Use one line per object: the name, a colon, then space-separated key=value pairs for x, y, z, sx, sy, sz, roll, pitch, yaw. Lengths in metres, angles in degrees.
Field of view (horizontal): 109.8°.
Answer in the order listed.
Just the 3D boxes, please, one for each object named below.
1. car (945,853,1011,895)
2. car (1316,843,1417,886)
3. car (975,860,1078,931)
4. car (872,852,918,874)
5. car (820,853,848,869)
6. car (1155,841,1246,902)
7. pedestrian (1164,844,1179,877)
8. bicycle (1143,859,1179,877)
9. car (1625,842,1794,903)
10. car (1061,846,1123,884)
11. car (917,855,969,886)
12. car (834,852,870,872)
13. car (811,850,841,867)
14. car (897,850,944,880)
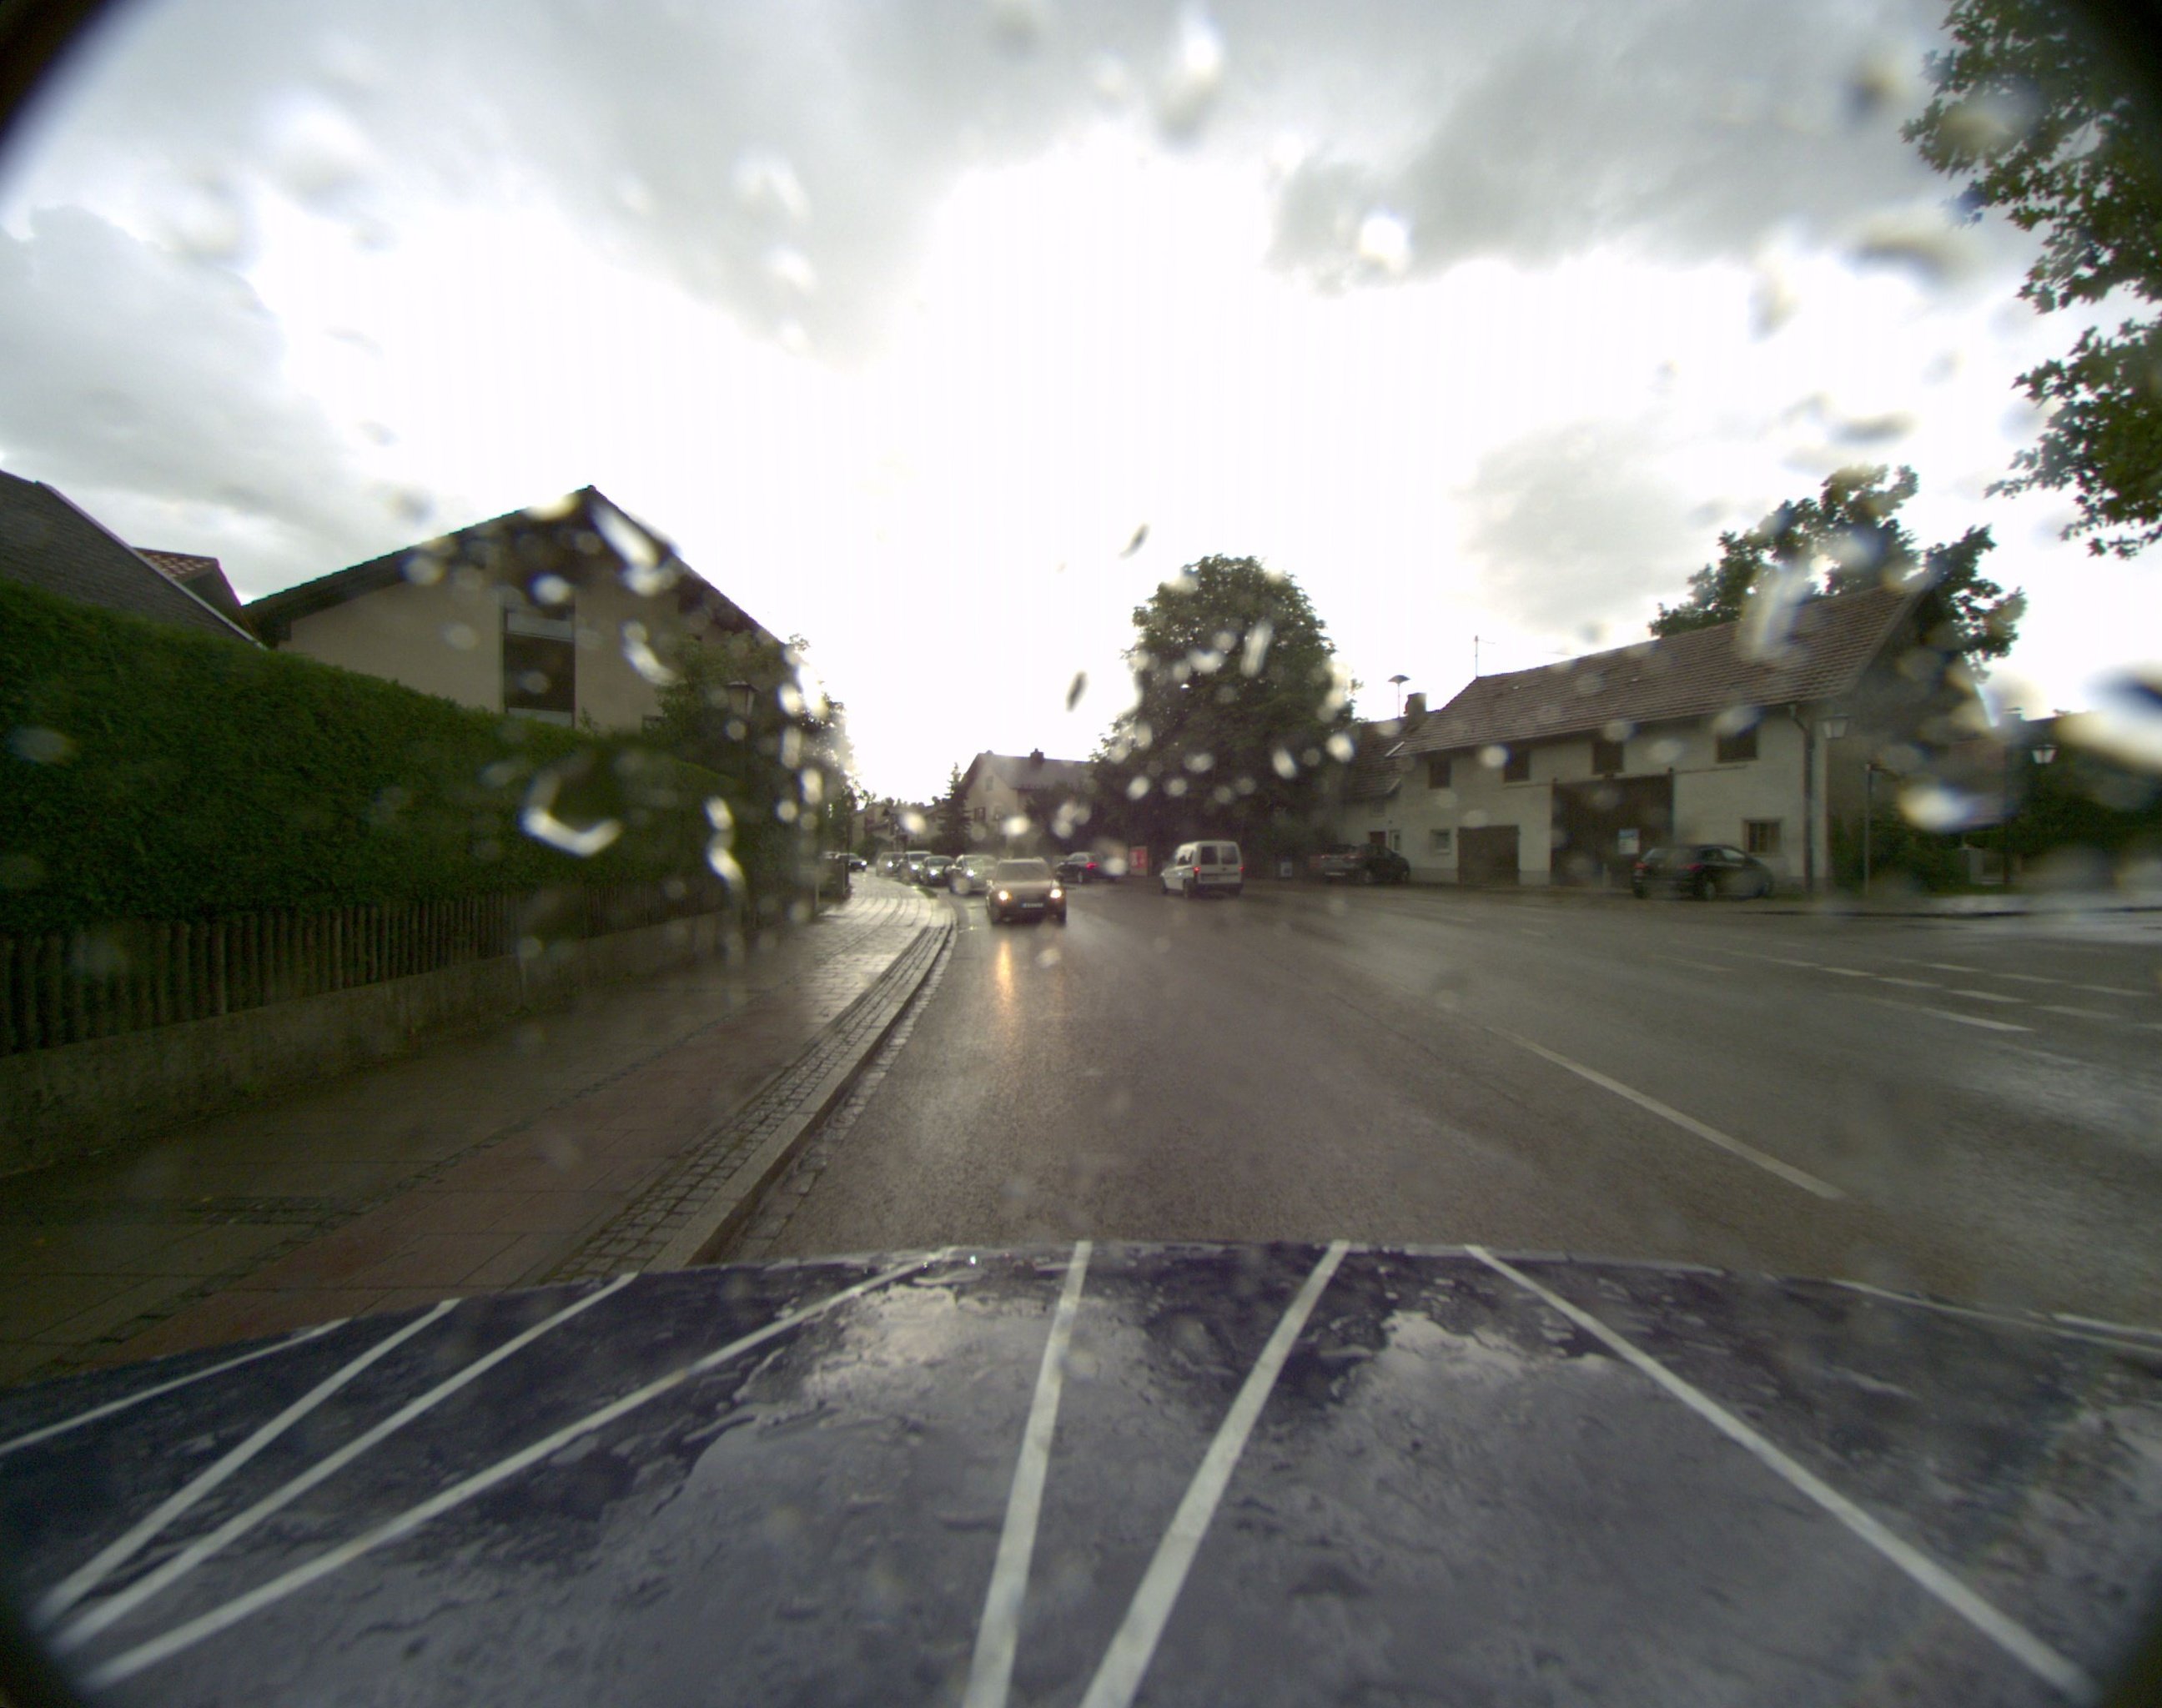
car: x=-4.250 y=0.726 z=30.700 sx=1.796 sy=1.471 sz=5.377 roll=-3 pitch=1 yaw=-16
car: x=11.047 y=0.416 z=29.279 sx=4.290 sy=1.539 sz=1.812 roll=1 pitch=0 yaw=-41
car: x=-1.457 y=0.905 z=18.634 sx=1.796 sy=1.387 sz=4.275 roll=-2 pitch=1 yaw=-13
car: x=-12.765 y=0.588 z=51.870 sx=1.798 sy=1.365 sz=4.271 roll=-3 pitch=1 yaw=-31
car: x=-26.529 y=0.727 z=81.558 sx=2.003 sy=1.586 sz=4.182 roll=-2 pitch=1 yaw=-29
car: x=3.749 y=0.490 z=24.632 sx=1.645 sy=1.755 sz=4.327 roll=-2 pitch=1 yaw=-8
pedestrian: x=4.511 y=0.308 z=37.988 sx=0.652 sy=1.619 sz=0.479 roll=-1 pitch=1 yaw=19
bicycle: x=4.136 y=0.728 z=39.364 sx=0.665 sy=0.897 sz=1.869 roll=-2 pitch=1 yaw=-43
car: x=16.585 y=0.432 z=20.036 sx=4.287 sy=1.428 sz=1.817 roll=-1 pitch=1 yaw=-26
car: x=0.467 y=0.492 z=36.941 sx=1.791 sy=1.653 sz=4.439 roll=-1 pitch=1 yaw=-16
car: x=-6.909 y=0.781 z=37.818 sx=1.796 sy=1.387 sz=4.273 roll=-3 pitch=1 yaw=-20
car: x=-19.073 y=0.680 z=63.101 sx=1.798 sy=1.539 sz=4.271 roll=-3 pitch=1 yaw=-31
car: x=-24.528 y=0.428 z=72.985 sx=1.798 sy=1.539 sz=4.270 roll=-3 pitch=1 yaw=-32
car: x=-9.312 y=0.586 z=43.877 sx=1.797 sy=1.539 sz=4.273 roll=-3 pitch=1 yaw=-23
